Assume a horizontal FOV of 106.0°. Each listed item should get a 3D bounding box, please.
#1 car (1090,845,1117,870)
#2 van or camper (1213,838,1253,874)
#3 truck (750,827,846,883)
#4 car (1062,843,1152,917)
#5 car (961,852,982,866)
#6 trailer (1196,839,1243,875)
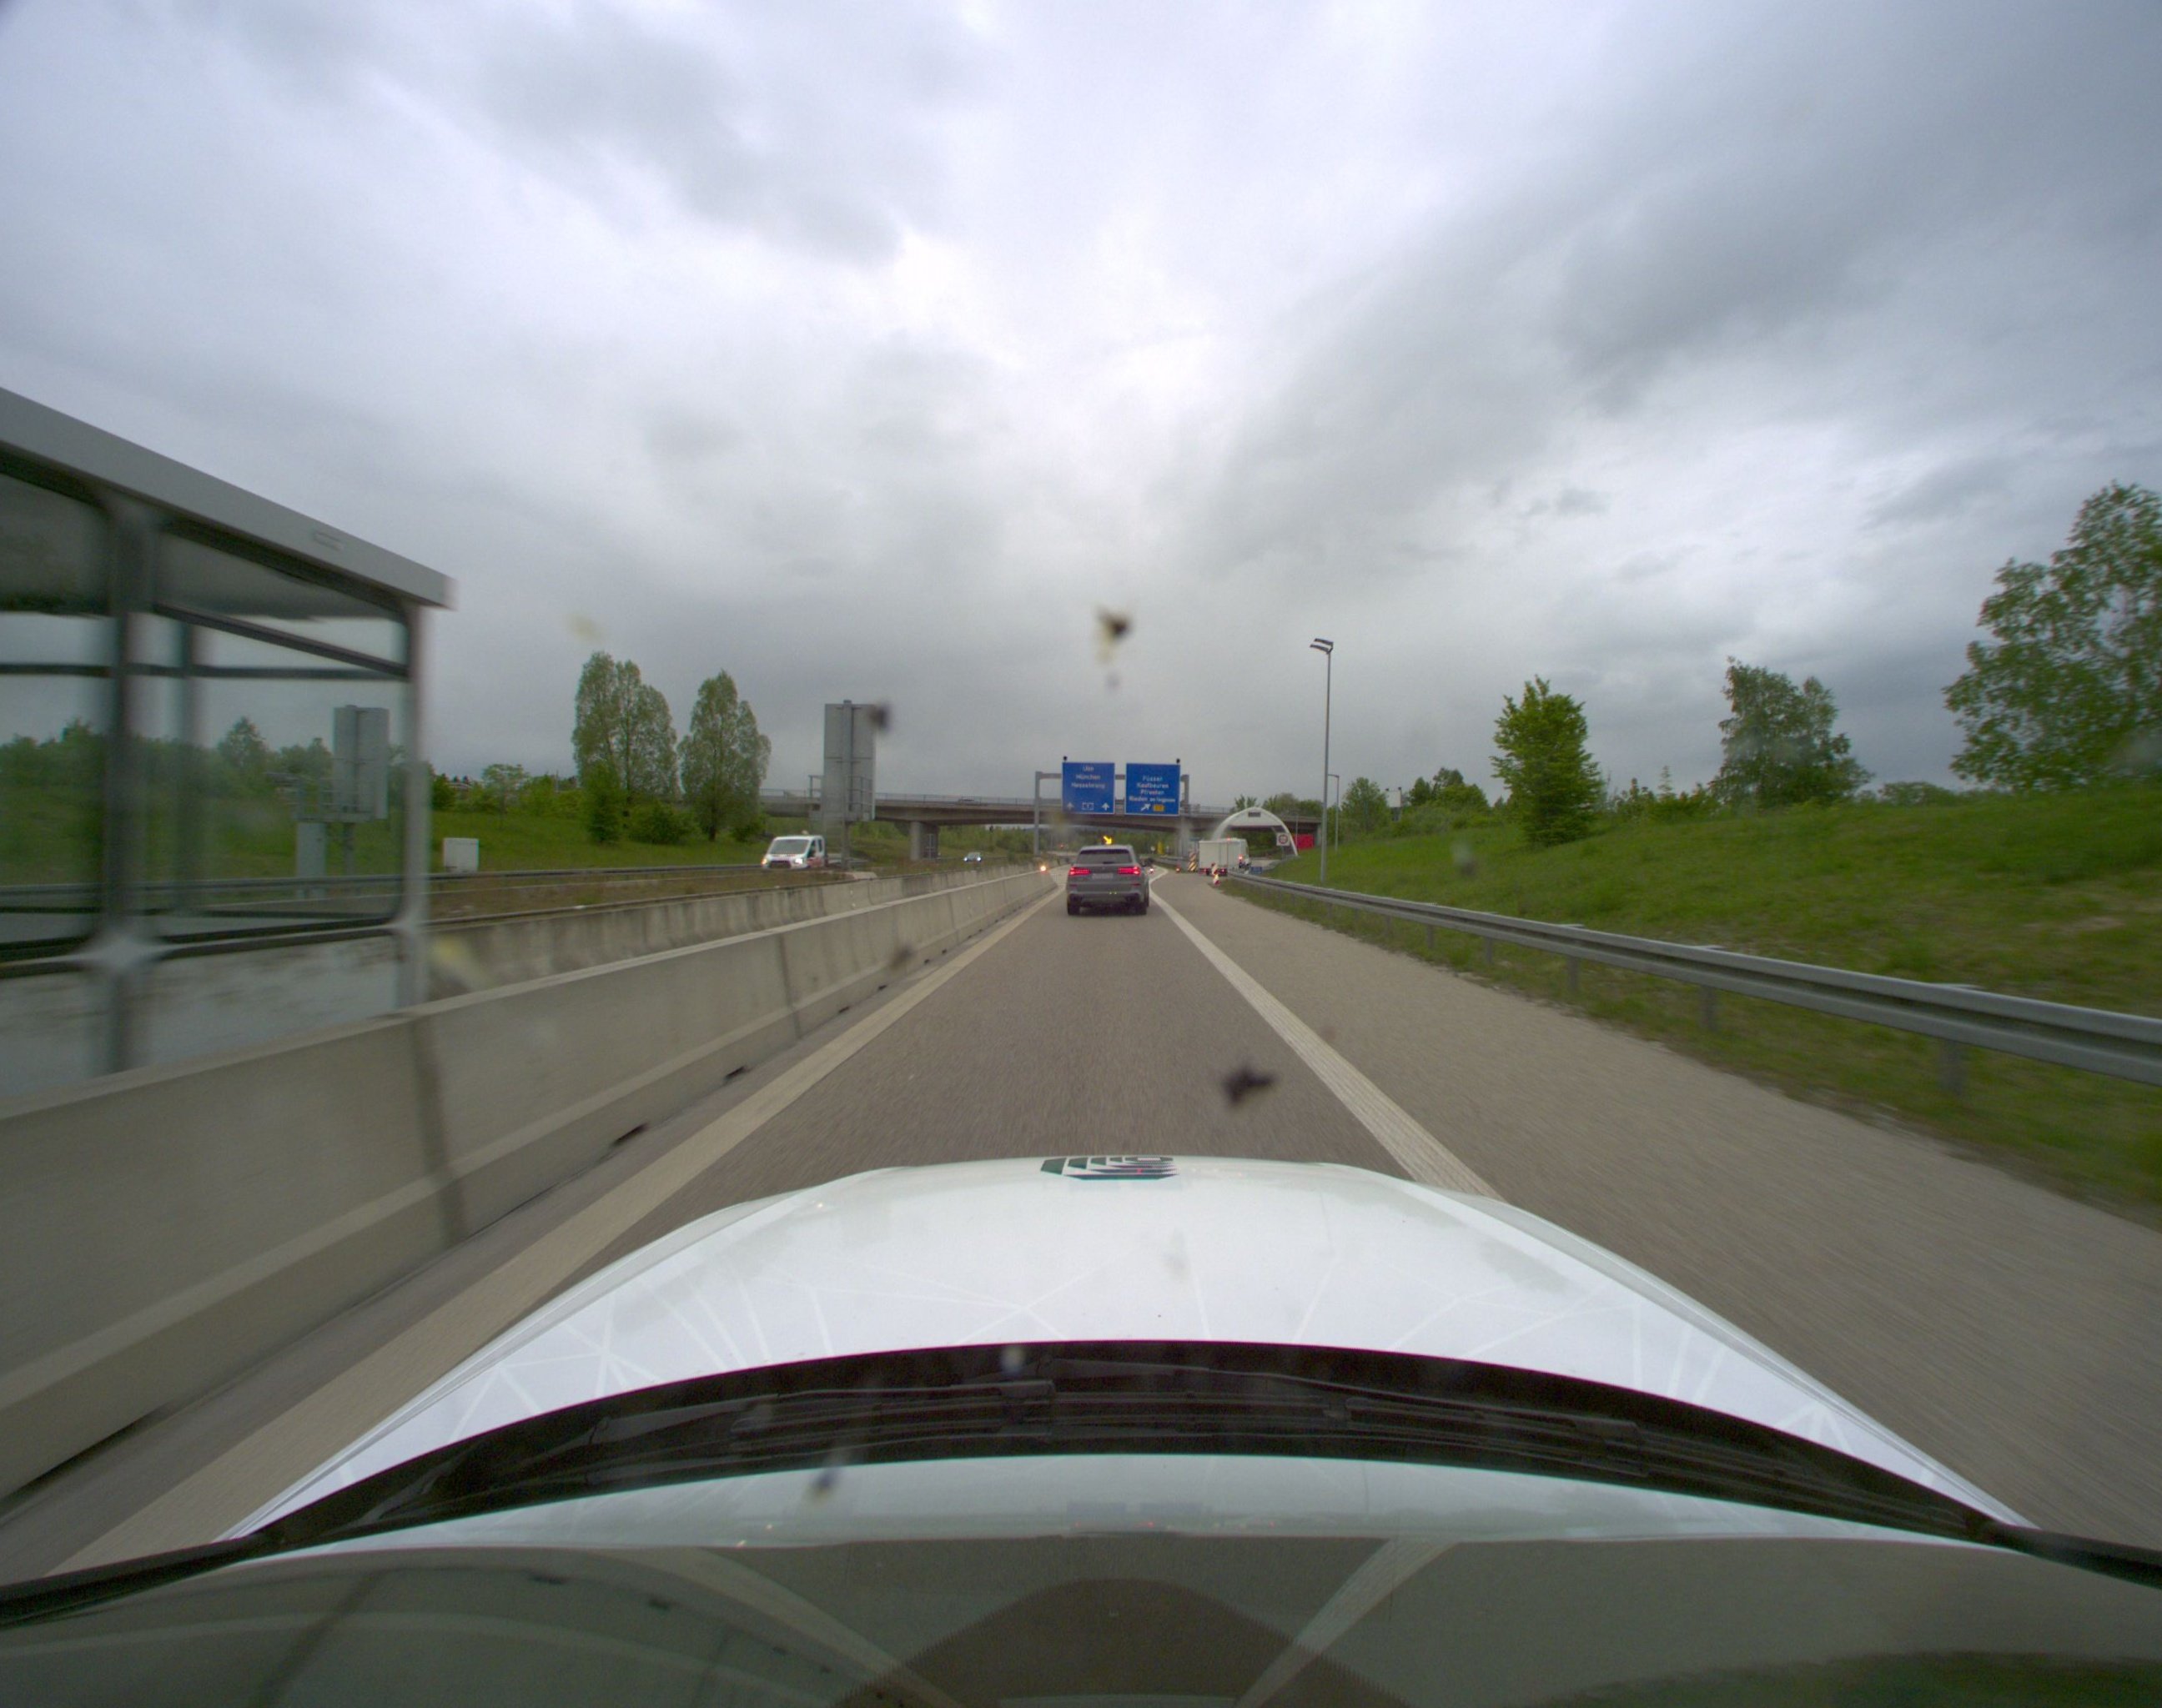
[{"bbox_3d":[1.921,0.286,70.021,2.278,2.013,5.051,0,1,1],"label":"car"},{"bbox_3d":[12.303,0.193,65.621,2.138,2.763,5.901,-1,-1,21],"label":"van or camper"},{"bbox_3d":[-13.438,0.060,39.170,2.348,2.479,5.990,0,0,2],"label":"truck"},{"bbox_3d":[0.785,0.616,21.267,1.983,1.719,4.007,-1,0,6],"label":"car"},{"bbox_3d":[-11.518,0.514,86.069,1.601,1.500,3.839,0,0,2],"label":"car"},{"bbox_3d":[10.222,0.239,59.687,2.260,2.430,6.850,-1,0,19],"label":"trailer"}]
